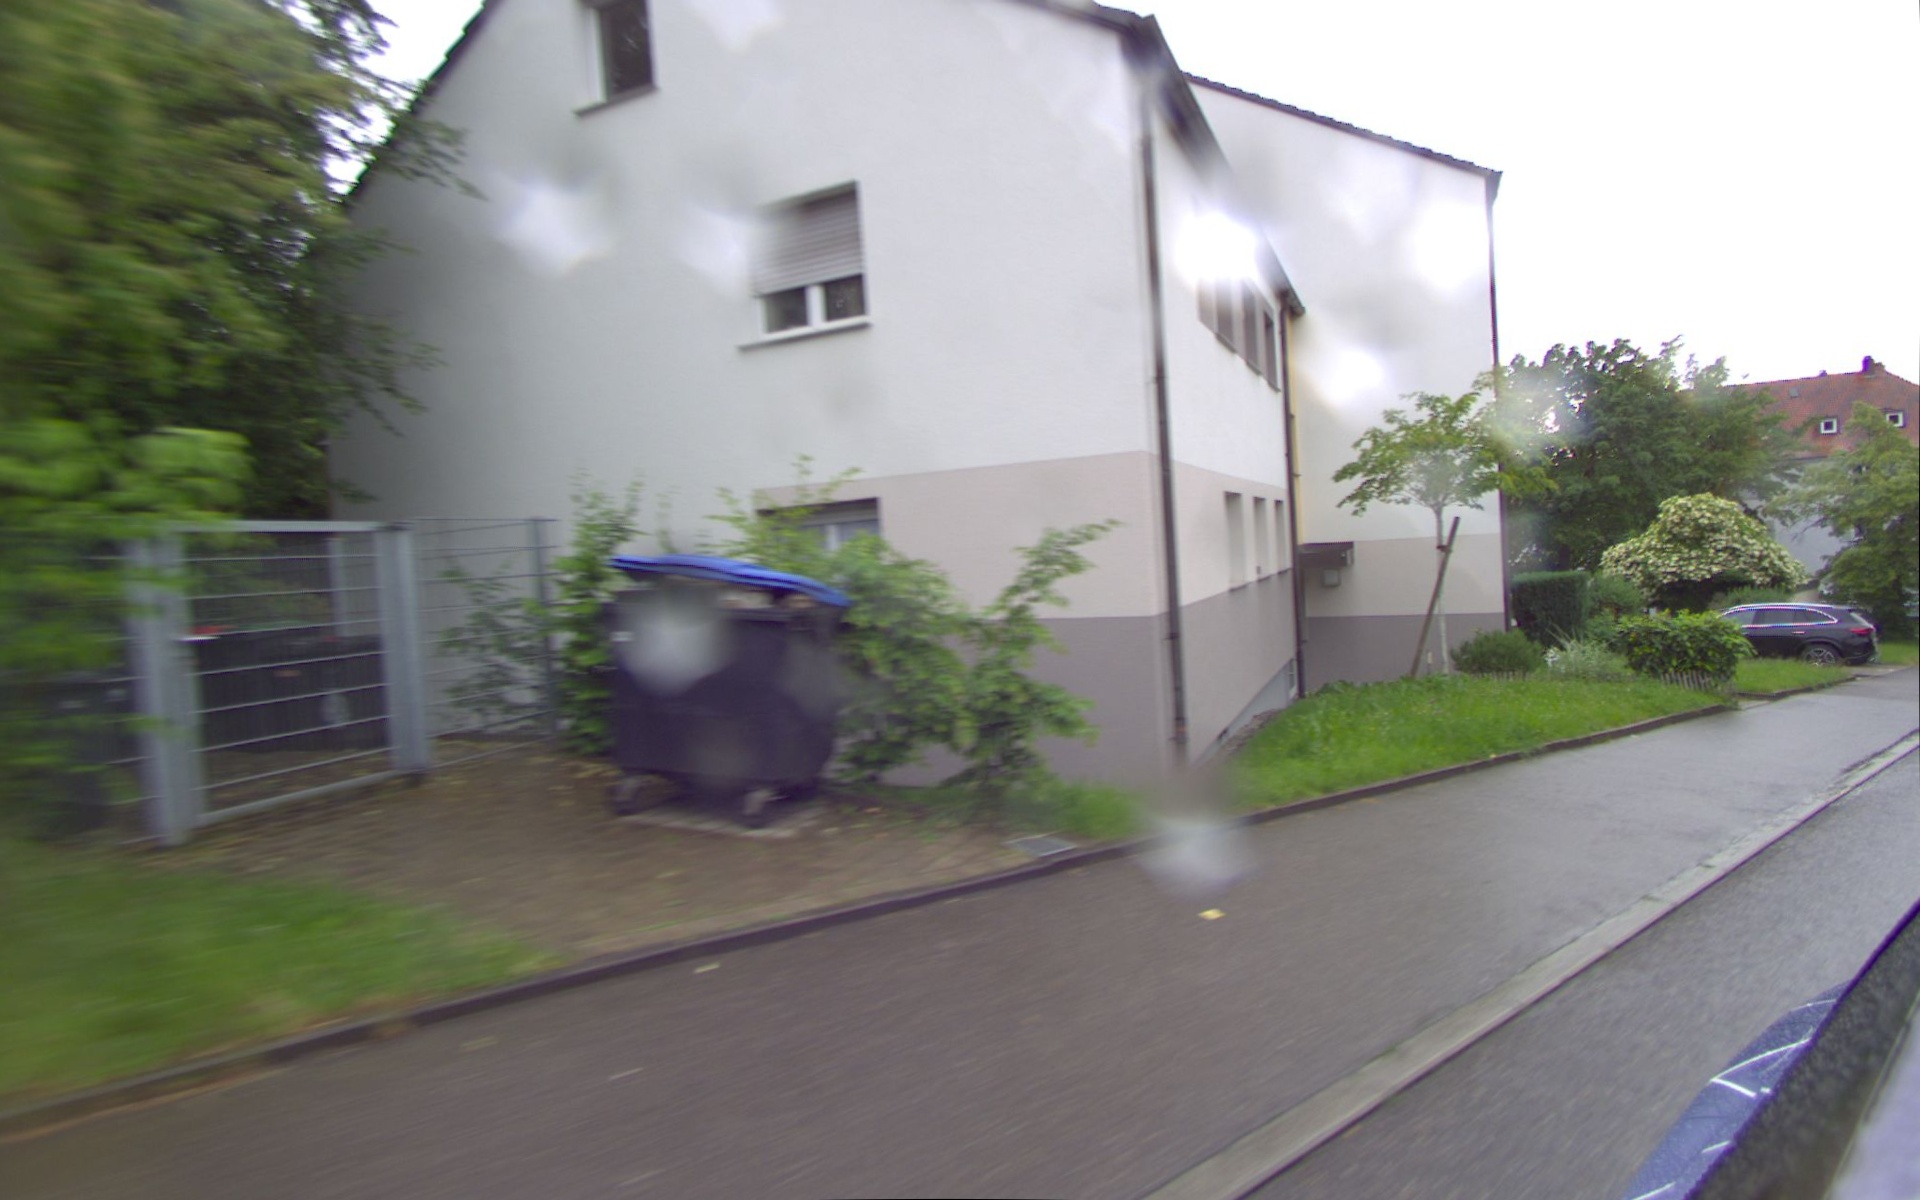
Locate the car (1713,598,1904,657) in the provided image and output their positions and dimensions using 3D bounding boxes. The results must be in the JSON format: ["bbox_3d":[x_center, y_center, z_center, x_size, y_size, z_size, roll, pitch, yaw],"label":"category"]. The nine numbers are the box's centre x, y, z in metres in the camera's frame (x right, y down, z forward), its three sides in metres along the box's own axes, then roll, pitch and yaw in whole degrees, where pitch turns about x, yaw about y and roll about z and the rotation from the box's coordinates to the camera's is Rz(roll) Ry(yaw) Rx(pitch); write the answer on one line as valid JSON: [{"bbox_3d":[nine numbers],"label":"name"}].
[{"bbox_3d":[22.822,0.689,27.316,1.694,1.477,3.749,1,0,-41],"label":"car"}]

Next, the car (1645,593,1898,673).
[{"bbox_3d":[19.007,0.698,23.846,4.526,1.681,1.826,0,0,44],"label":"car"}]

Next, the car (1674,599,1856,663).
[{"bbox_3d":[20.683,0.753,26.096,1.638,1.515,3.445,1,0,-40],"label":"car"}]

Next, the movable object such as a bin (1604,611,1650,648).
[{"bbox_3d":[26.098,1.157,39.608,1.099,1.412,1.140,-1,-3,-36],"label":"movable object such as a bin"}]

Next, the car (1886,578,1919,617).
[{"bbox_3d":[46.270,-0.117,48.795,1.712,1.581,3.754,2,5,33],"label":"car"}]

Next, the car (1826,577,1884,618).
[{"bbox_3d":[44.059,-0.164,49.883,1.786,1.611,4.203,2,6,37],"label":"car"}]

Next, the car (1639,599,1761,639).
[{"bbox_3d":[30.377,0.741,41.614,1.765,1.448,3.708,-5,2,-39],"label":"car"}]

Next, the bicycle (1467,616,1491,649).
[{"bbox_3d":[16.113,1.000,31.422,0.567,1.003,1.668,-2,-1,25],"label":"bicycle"}]

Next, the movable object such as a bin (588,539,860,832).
[{"bbox_3d":[-1.332,0.437,5.881,1.227,1.516,0.978,0,0,16],"label":"movable object such as a bin"}]
